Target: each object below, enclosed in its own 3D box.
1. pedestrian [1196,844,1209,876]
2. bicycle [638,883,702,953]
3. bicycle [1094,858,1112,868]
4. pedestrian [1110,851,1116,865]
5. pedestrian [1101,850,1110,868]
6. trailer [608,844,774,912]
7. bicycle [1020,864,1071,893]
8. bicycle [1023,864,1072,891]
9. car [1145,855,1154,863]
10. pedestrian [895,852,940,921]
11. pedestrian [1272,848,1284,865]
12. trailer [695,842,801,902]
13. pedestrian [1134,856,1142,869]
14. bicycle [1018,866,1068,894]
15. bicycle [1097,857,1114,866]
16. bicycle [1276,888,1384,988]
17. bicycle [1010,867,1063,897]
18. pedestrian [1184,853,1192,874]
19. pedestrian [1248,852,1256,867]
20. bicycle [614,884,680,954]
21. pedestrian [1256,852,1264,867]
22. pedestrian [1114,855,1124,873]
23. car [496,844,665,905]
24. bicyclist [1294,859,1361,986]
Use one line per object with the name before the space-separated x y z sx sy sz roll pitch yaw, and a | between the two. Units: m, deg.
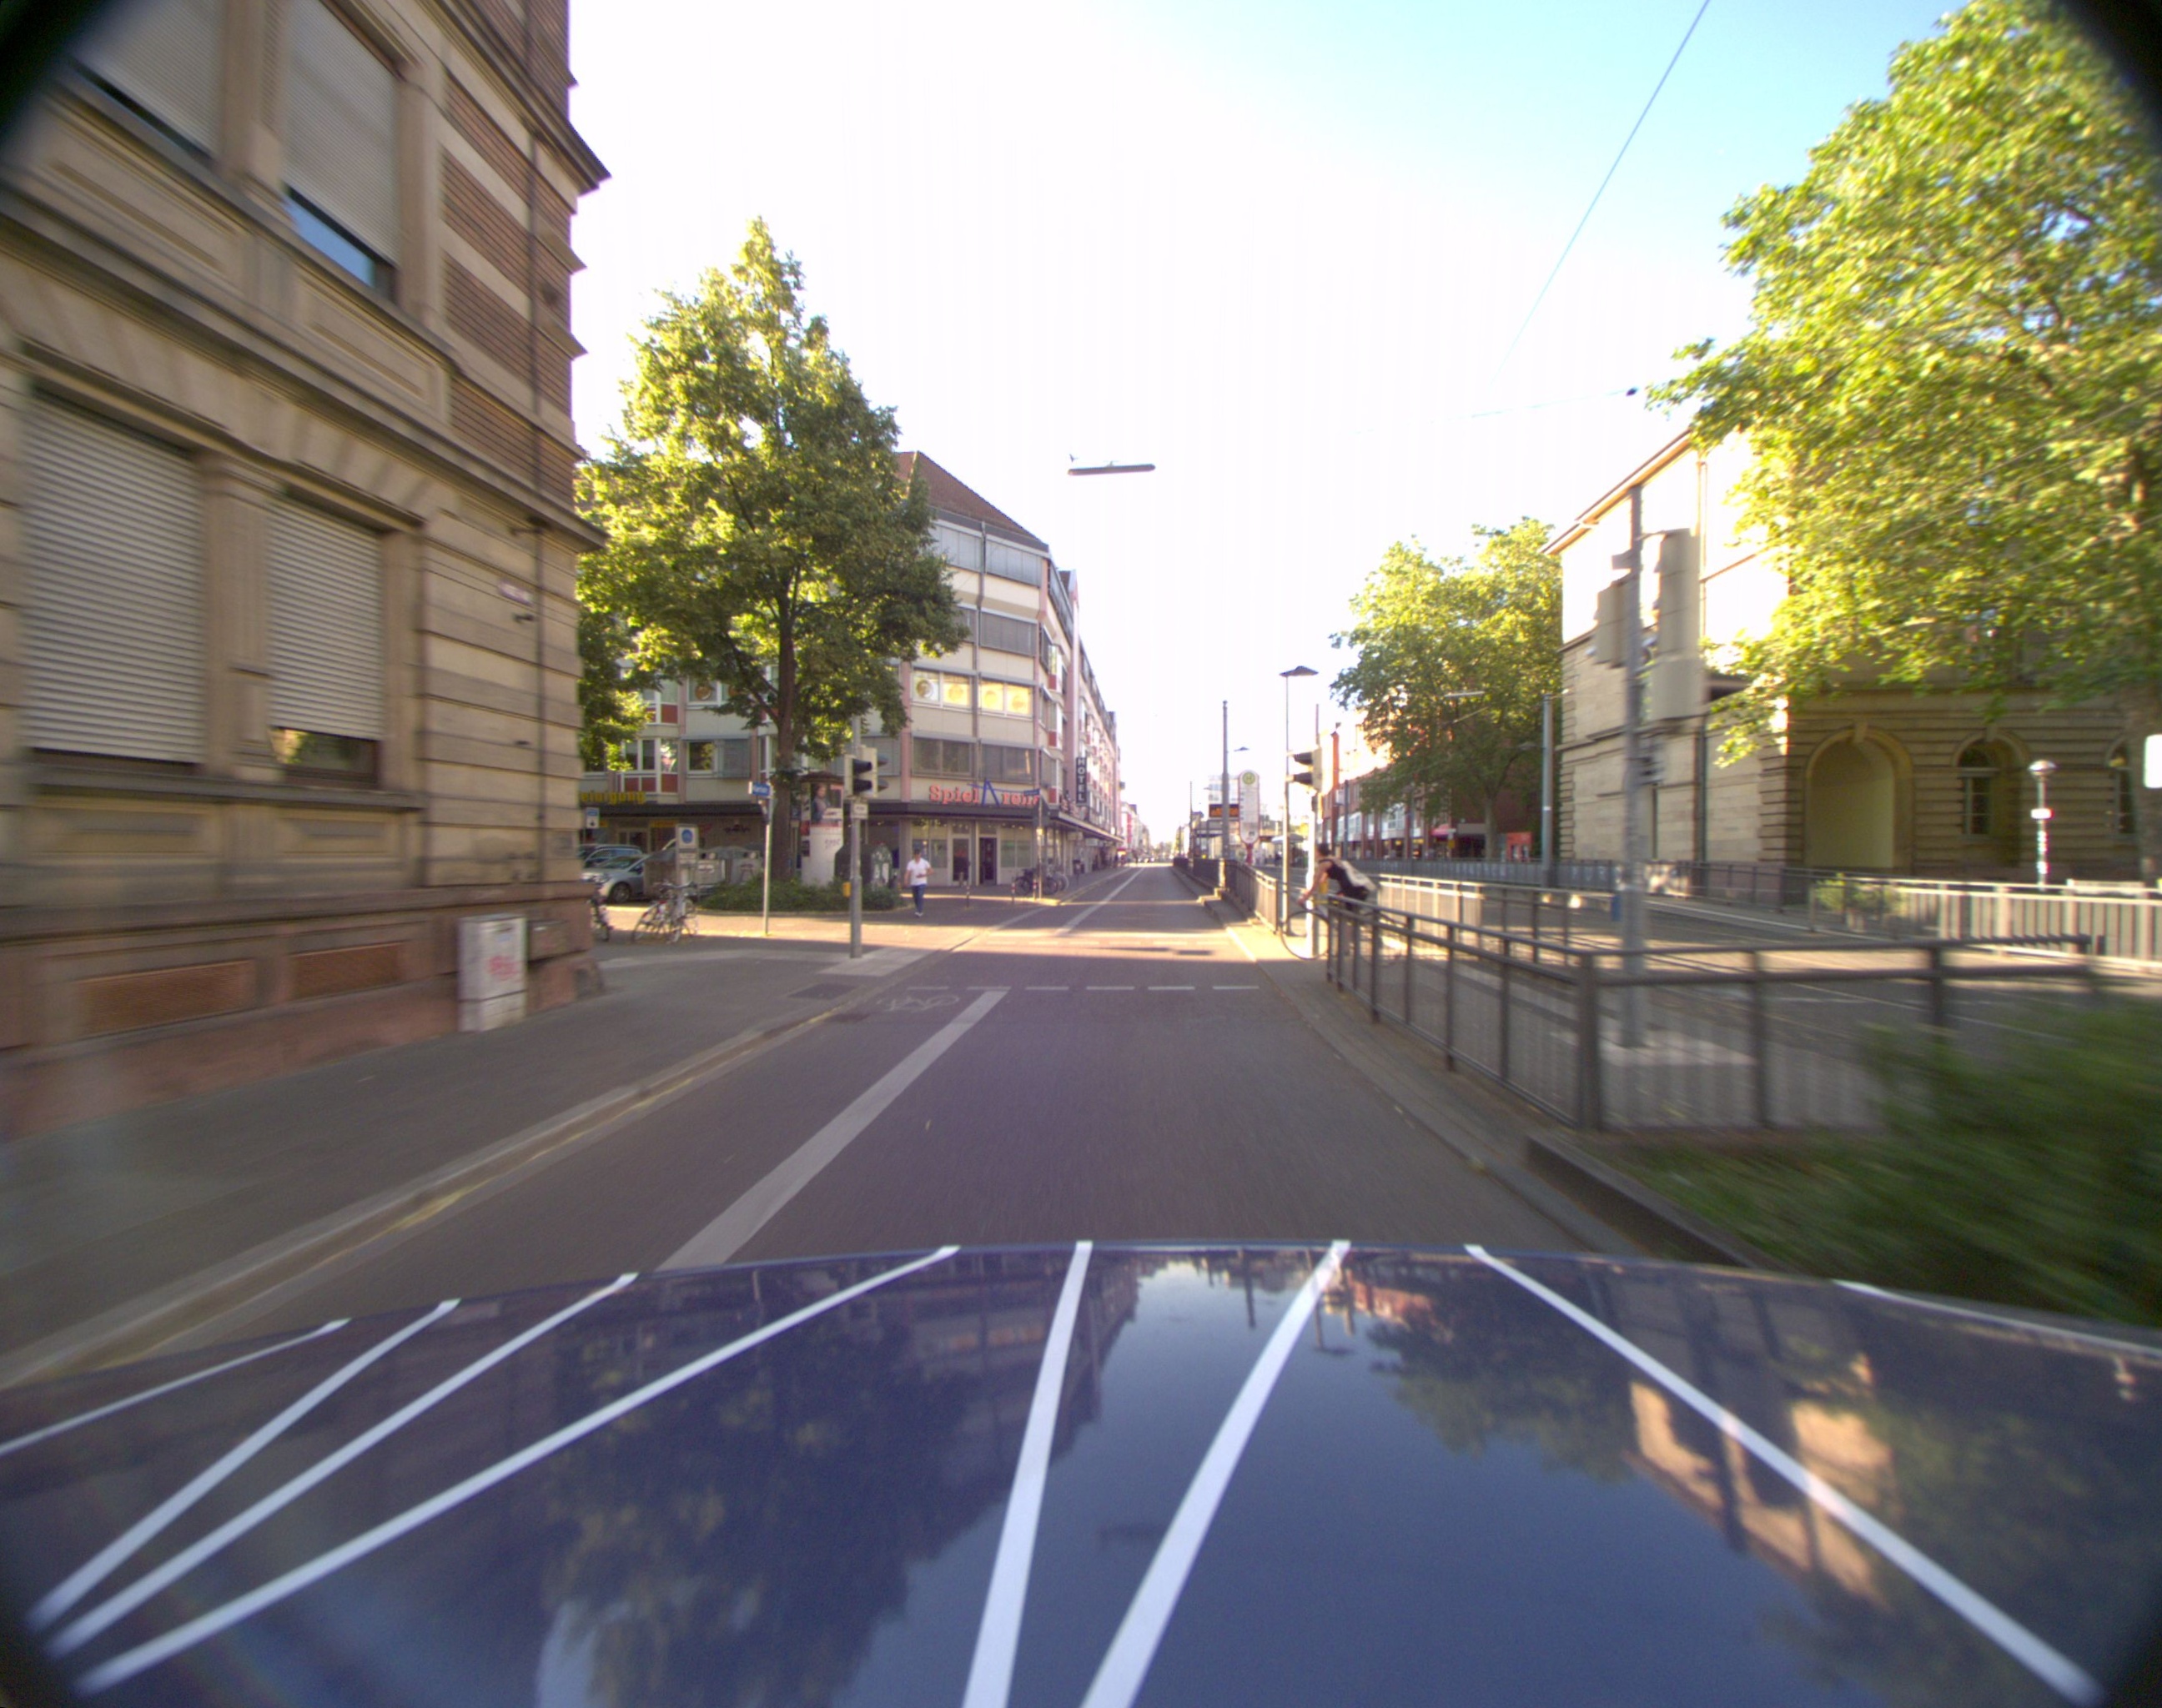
pedestrian | 6.513 0.331 40.864 0.623 1.702 0.850 0 1 5
bicycle | -6.931 1.041 12.890 0.452 1.019 1.905 -1 0 -13
bicycle | 2.368 0.997 82.207 1.928 1.054 0.576 1 1 5
pedestrian | 3.779 0.495 89.552 0.406 1.586 0.462 4 1 34
pedestrian | 2.547 0.540 78.902 0.916 1.856 0.779 1 1 3
trailer | -10.983 0.597 21.739 1.968 1.722 3.938 1 1 20
bicycle | -1.400 0.967 30.113 1.974 1.098 0.614 0 1 3
bicycle | -1.352 0.950 30.769 1.917 1.041 0.681 -1 1 3
car | 14.870 1.054 165.160 1.971 1.664 4.877 -2 0 6
pedestrian | -4.013 0.785 18.664 0.785 1.655 1.034 0 -1 7
pedestrian | 19.404 0.225 74.876 0.913 1.652 0.968 0 1 5
trailer | -11.164 0.544 25.686 1.577 1.873 3.189 2 2 17
pedestrian | 7.846 1.199 104.786 0.812 1.793 0.859 -3 1 -23
bicycle | -1.466 0.991 29.386 1.838 1.048 0.718 -1 0 3
bicycle | 2.679 0.835 83.542 1.733 0.968 0.506 3 1 11
bicycle | 3.210 1.038 9.987 0.584 1.071 1.898 -3 0 -6
bicycle | -1.616 1.001 27.718 1.838 1.048 0.710 -1 0 3
pedestrian | 9.288 0.852 65.862 0.584 1.781 0.606 -1 1 4
pedestrian | 20.783 0.719 92.277 0.859 1.756 0.812 -3 1 13
bicycle | -7.339 1.062 12.934 0.418 1.019 1.905 -1 0 -13
pedestrian | 21.660 0.671 92.080 0.859 1.756 0.812 -3 1 14
pedestrian | 3.799 0.985 76.280 0.799 1.713 1.061 3 2 7
car | -15.400 0.572 23.632 1.969 1.722 3.938 -1 0 20
bicyclist | 3.182 0.859 9.860 0.534 1.569 0.745 -1 1 -11
